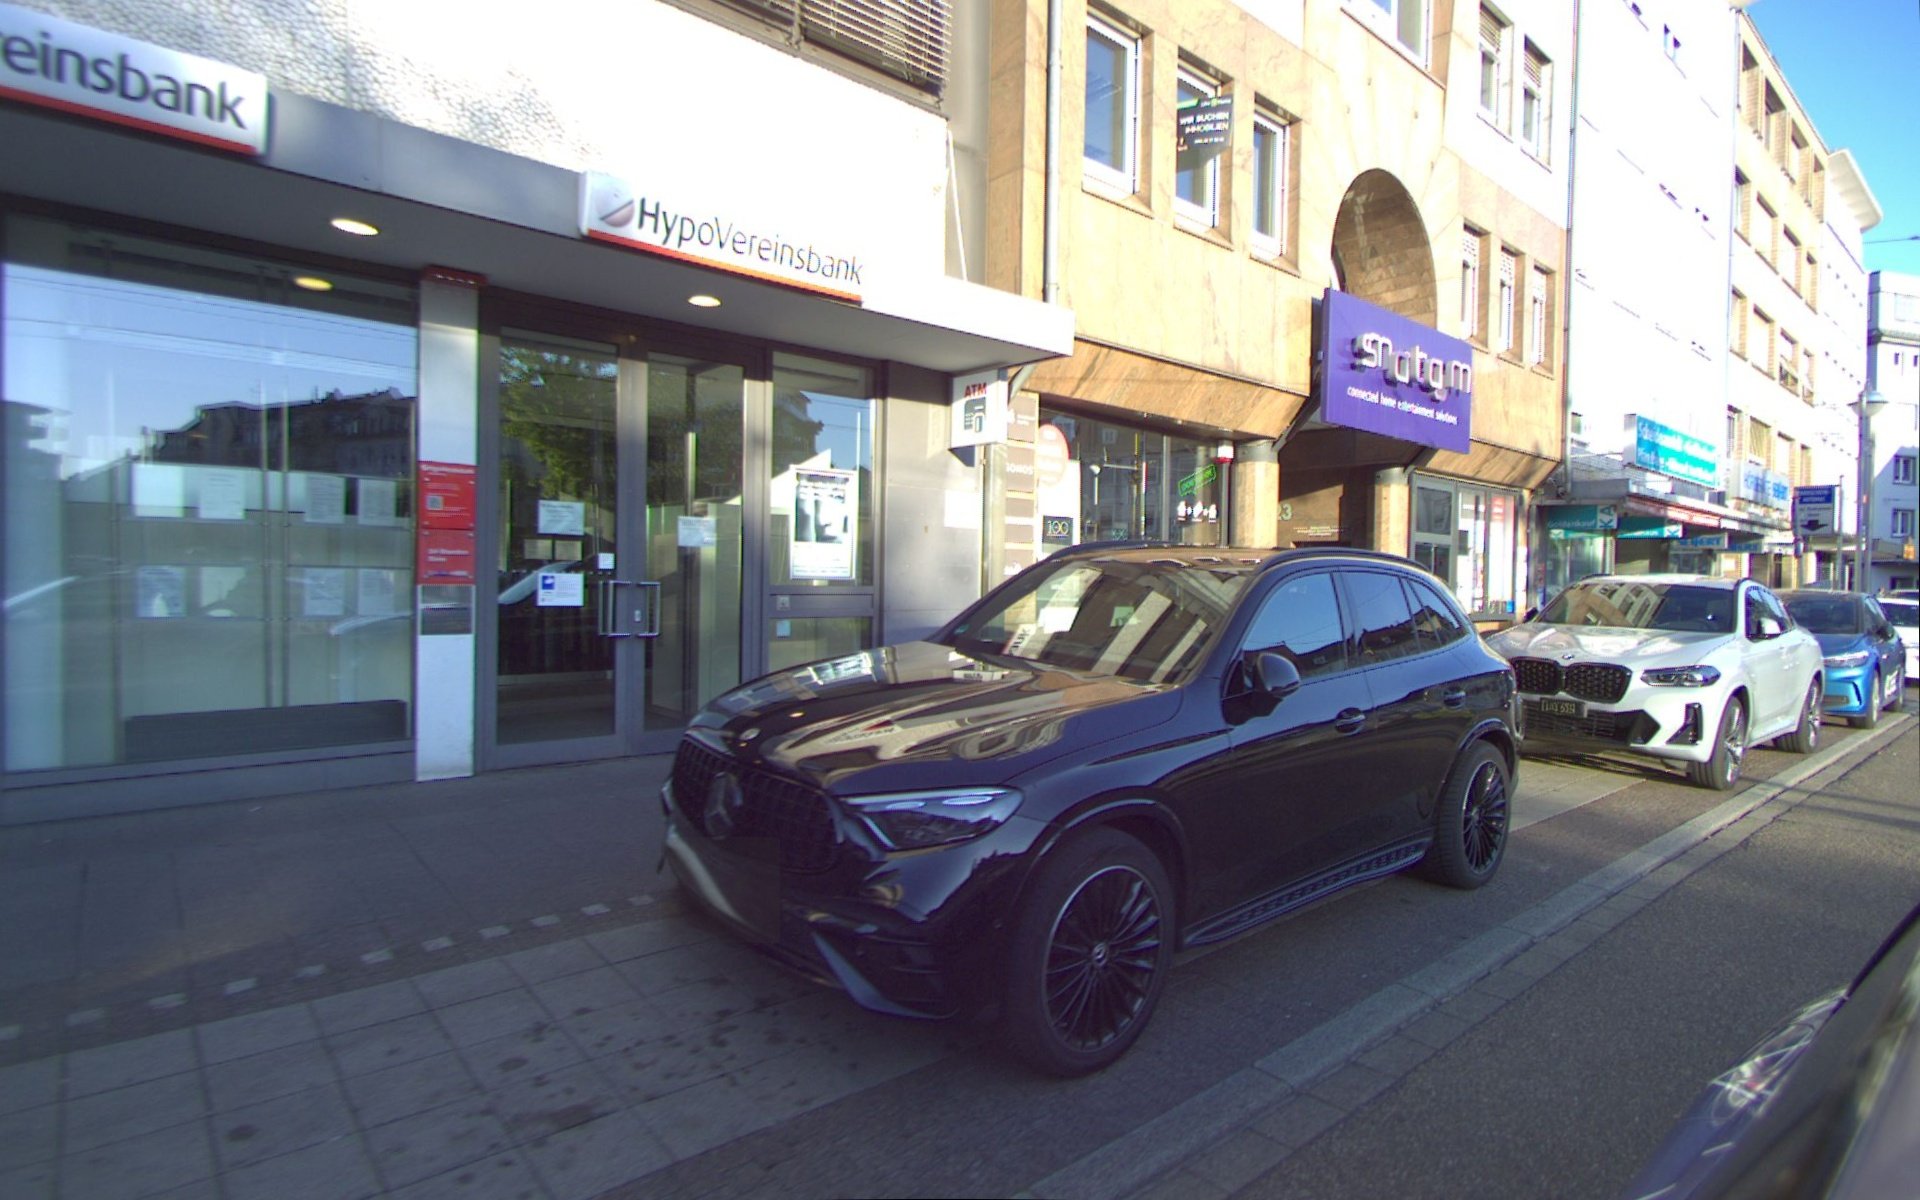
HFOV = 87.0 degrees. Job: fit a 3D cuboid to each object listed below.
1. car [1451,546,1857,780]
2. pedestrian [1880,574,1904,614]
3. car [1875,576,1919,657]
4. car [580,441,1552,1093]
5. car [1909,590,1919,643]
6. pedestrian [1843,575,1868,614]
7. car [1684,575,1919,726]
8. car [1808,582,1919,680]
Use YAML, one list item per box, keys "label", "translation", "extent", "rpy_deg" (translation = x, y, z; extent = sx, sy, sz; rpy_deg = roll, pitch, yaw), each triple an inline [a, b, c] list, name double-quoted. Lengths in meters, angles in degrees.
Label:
- label: "car"
  translation: [6.405, 0.391, 9.113]
  extent: [4.639, 1.605, 1.820]
  rpy_deg: [0, 2, -40]
- label: "pedestrian"
  translation: [42.616, -0.267, 46.268]
  extent: [0.747, 1.795, 0.578]
  rpy_deg: [2, 2, 42]
- label: "car"
  translation: [21.256, 0.330, 21.824]
  extent: [4.213, 1.625, 1.768]
  rpy_deg: [-1, 2, -41]
- label: "car"
  translation: [0.870, 0.404, 4.579]
  extent: [4.498, 1.558, 1.779]
  rpy_deg: [1, 1, -41]
- label: "car"
  translation: [26.118, 0.418, 26.201]
  extent: [3.990, 1.298, 1.678]
  rpy_deg: [-1, 2, -38]
- label: "pedestrian"
  translation: [41.774, -0.279, 47.226]
  extent: [0.627, 1.795, 0.749]
  rpy_deg: [0, 1, -37]
- label: "car"
  translation: [10.965, 0.492, 12.907]
  extent: [4.753, 1.571, 1.812]
  rpy_deg: [-1, 2, -42]
- label: "car"
  translation: [16.510, 0.462, 17.923]
  extent: [4.082, 1.452, 1.733]
  rpy_deg: [-2, 3, -42]
